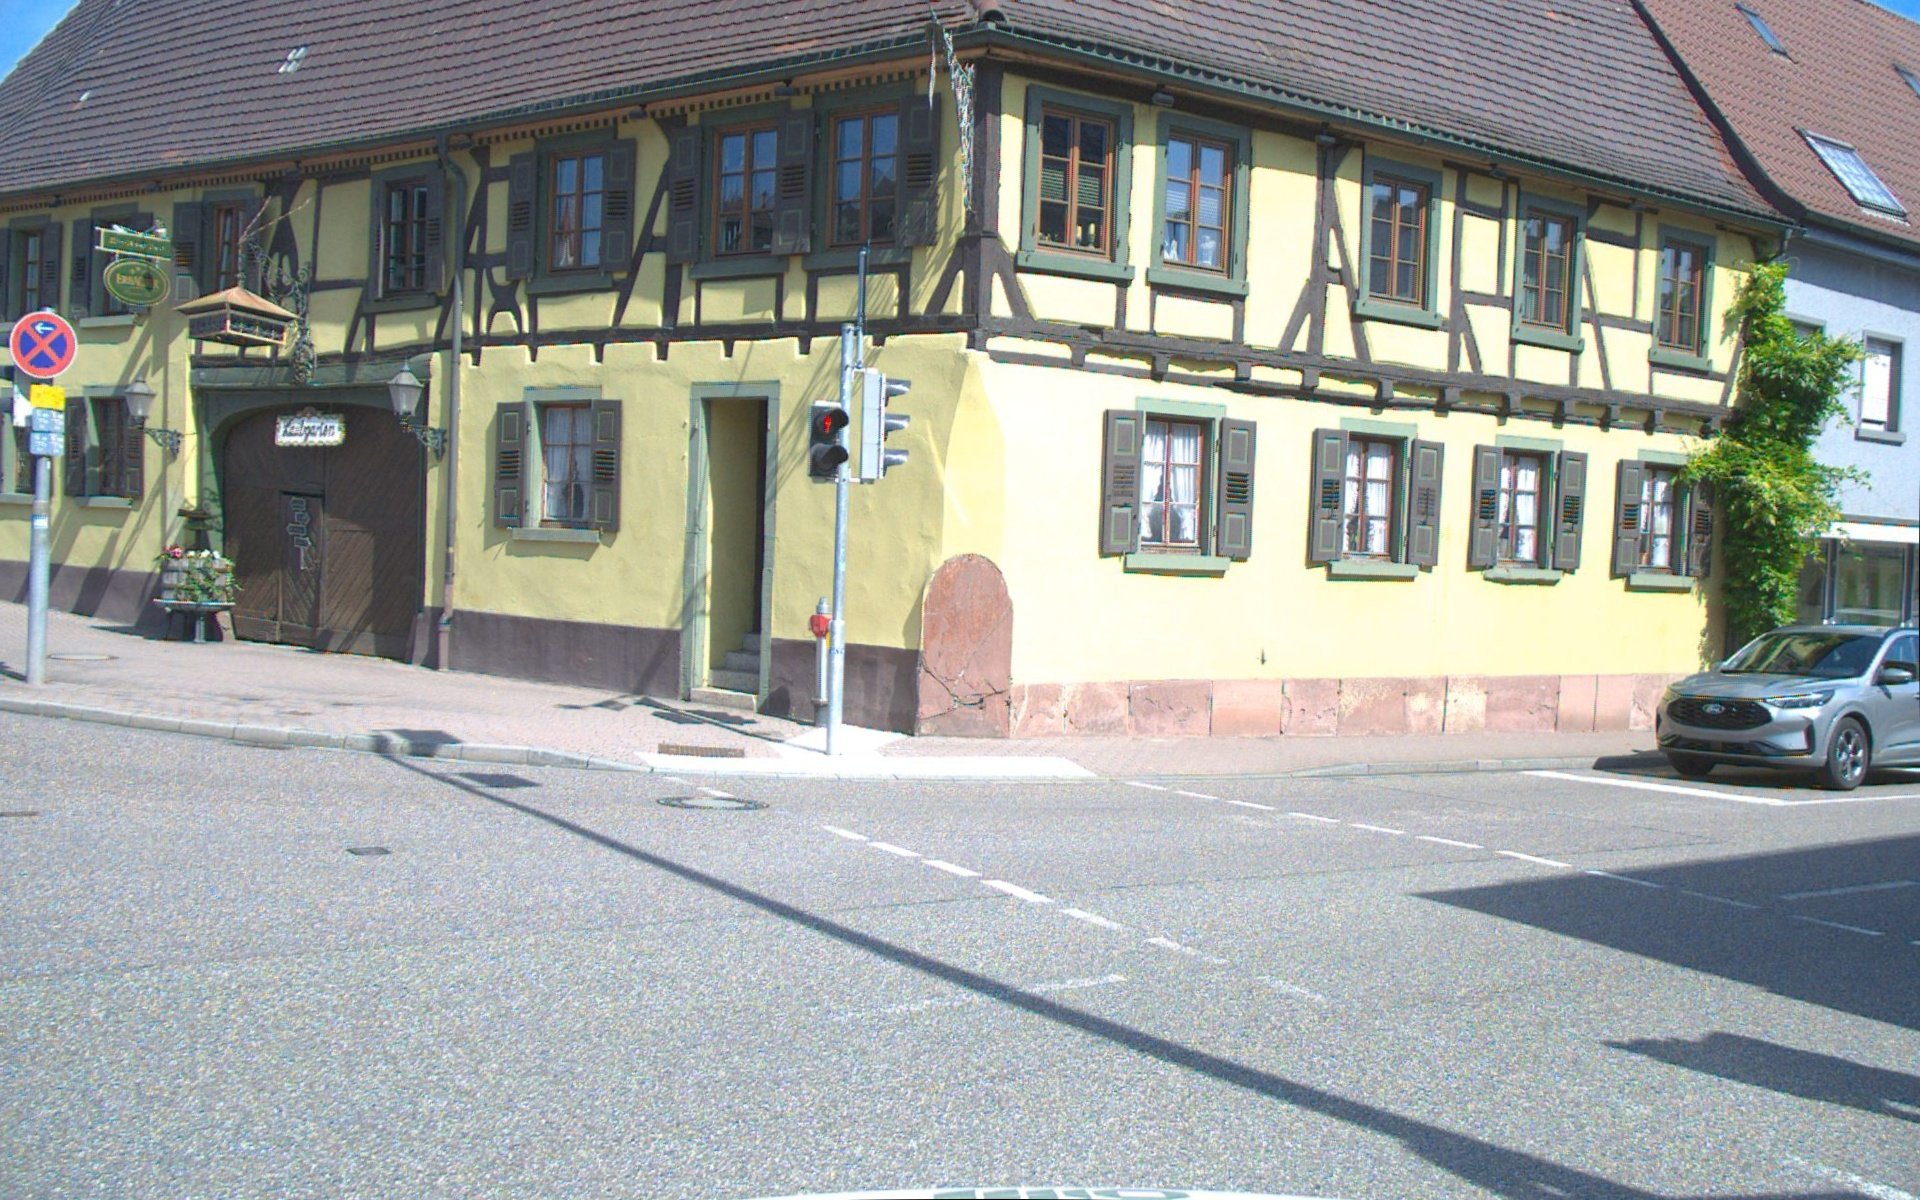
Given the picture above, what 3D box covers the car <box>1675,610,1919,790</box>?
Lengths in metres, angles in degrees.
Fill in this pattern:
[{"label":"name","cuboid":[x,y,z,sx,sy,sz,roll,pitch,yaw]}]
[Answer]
[{"label":"car","cuboid":[9.552,1.003,17.240,4.373,1.638,1.741,2,-1,-33]}]
